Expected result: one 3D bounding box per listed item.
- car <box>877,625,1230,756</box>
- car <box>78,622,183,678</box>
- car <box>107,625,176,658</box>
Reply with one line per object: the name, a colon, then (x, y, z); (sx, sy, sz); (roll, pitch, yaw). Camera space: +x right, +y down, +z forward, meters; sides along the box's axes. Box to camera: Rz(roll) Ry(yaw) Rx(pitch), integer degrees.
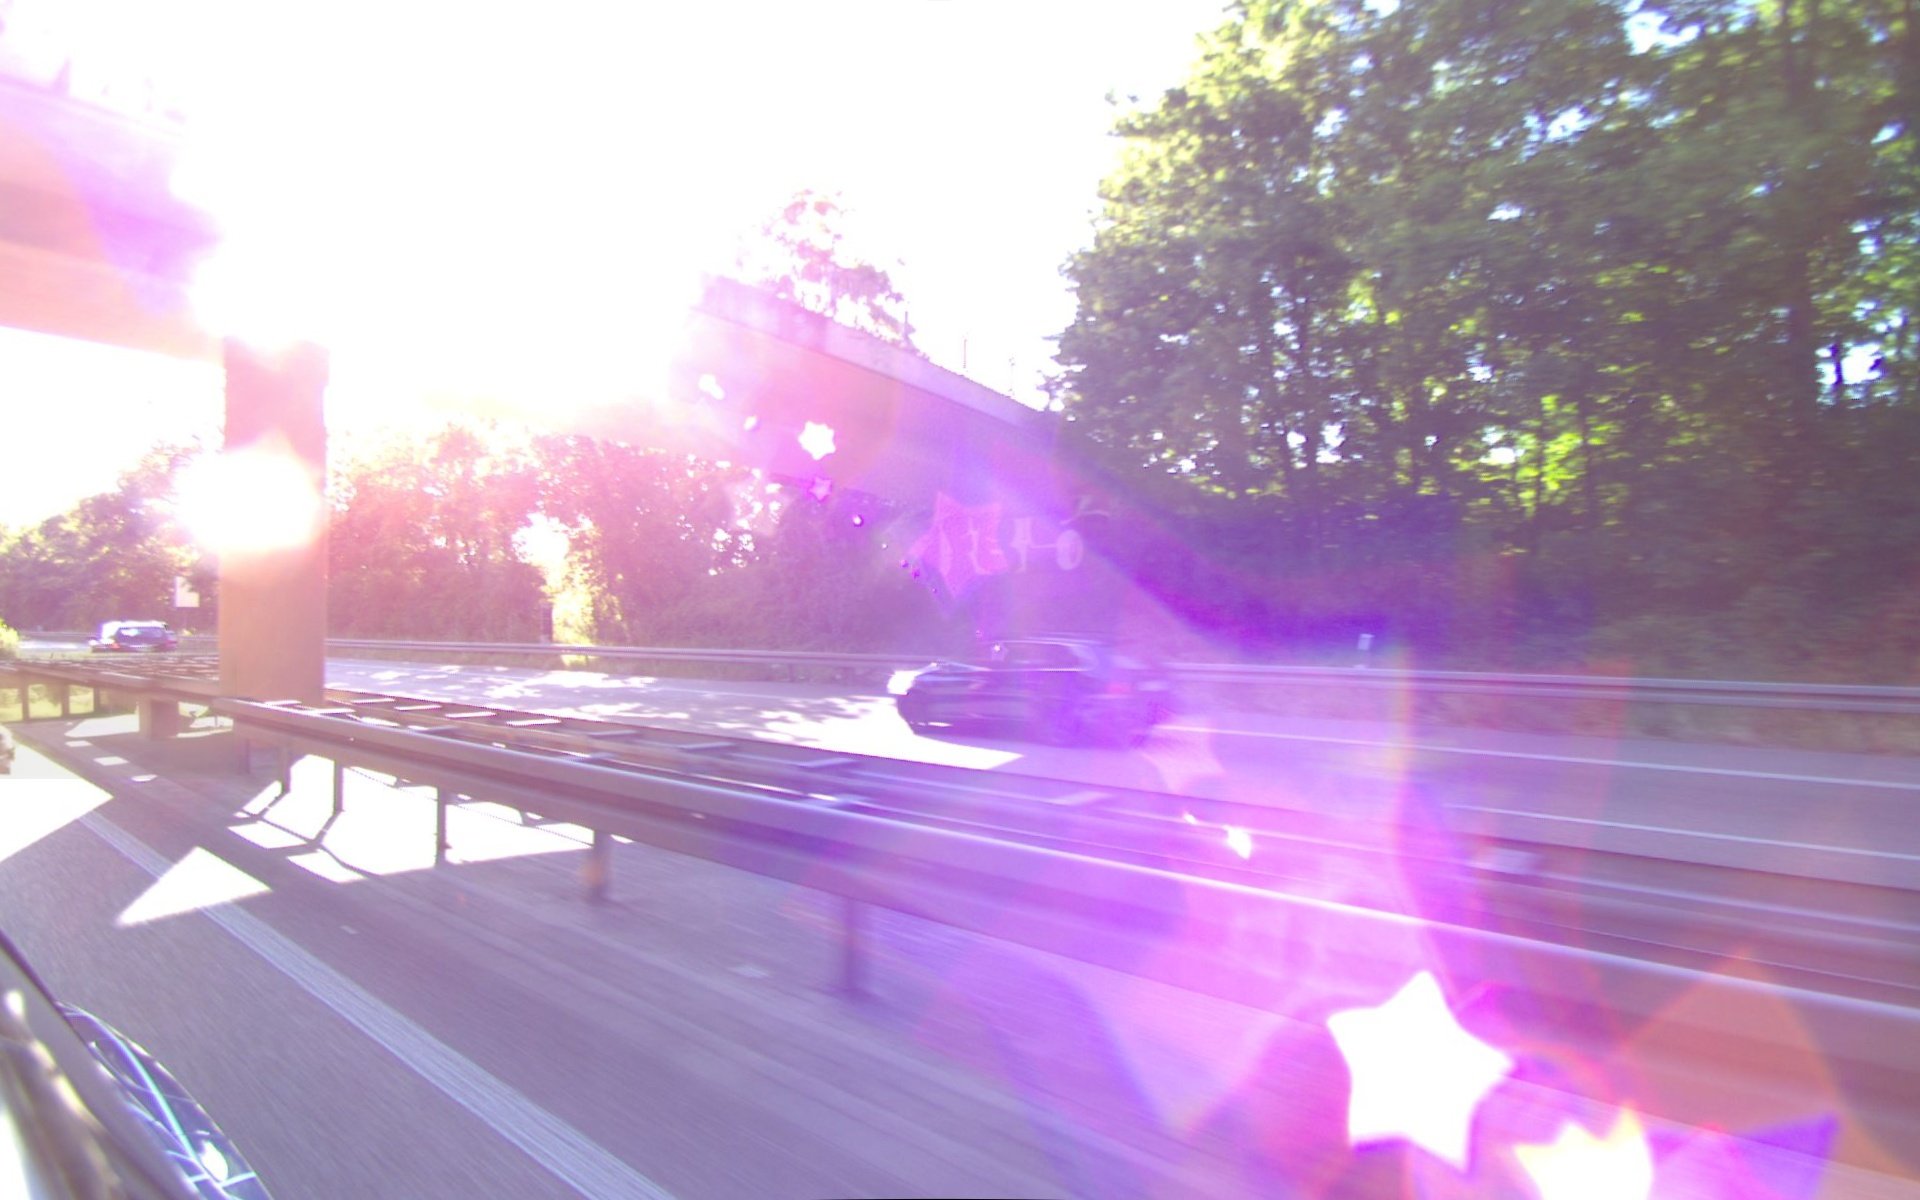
car: (1.180, 1.129, 14.279); (4.703, 1.461, 1.941); (-1, 1, 41)
car: (-27.814, 1.626, 33.893); (4.589, 1.737, 1.940); (-1, -2, 40)
car: (-42.564, 2.121, 52.593); (5.038, 1.672, 1.940); (-1, -2, 41)
